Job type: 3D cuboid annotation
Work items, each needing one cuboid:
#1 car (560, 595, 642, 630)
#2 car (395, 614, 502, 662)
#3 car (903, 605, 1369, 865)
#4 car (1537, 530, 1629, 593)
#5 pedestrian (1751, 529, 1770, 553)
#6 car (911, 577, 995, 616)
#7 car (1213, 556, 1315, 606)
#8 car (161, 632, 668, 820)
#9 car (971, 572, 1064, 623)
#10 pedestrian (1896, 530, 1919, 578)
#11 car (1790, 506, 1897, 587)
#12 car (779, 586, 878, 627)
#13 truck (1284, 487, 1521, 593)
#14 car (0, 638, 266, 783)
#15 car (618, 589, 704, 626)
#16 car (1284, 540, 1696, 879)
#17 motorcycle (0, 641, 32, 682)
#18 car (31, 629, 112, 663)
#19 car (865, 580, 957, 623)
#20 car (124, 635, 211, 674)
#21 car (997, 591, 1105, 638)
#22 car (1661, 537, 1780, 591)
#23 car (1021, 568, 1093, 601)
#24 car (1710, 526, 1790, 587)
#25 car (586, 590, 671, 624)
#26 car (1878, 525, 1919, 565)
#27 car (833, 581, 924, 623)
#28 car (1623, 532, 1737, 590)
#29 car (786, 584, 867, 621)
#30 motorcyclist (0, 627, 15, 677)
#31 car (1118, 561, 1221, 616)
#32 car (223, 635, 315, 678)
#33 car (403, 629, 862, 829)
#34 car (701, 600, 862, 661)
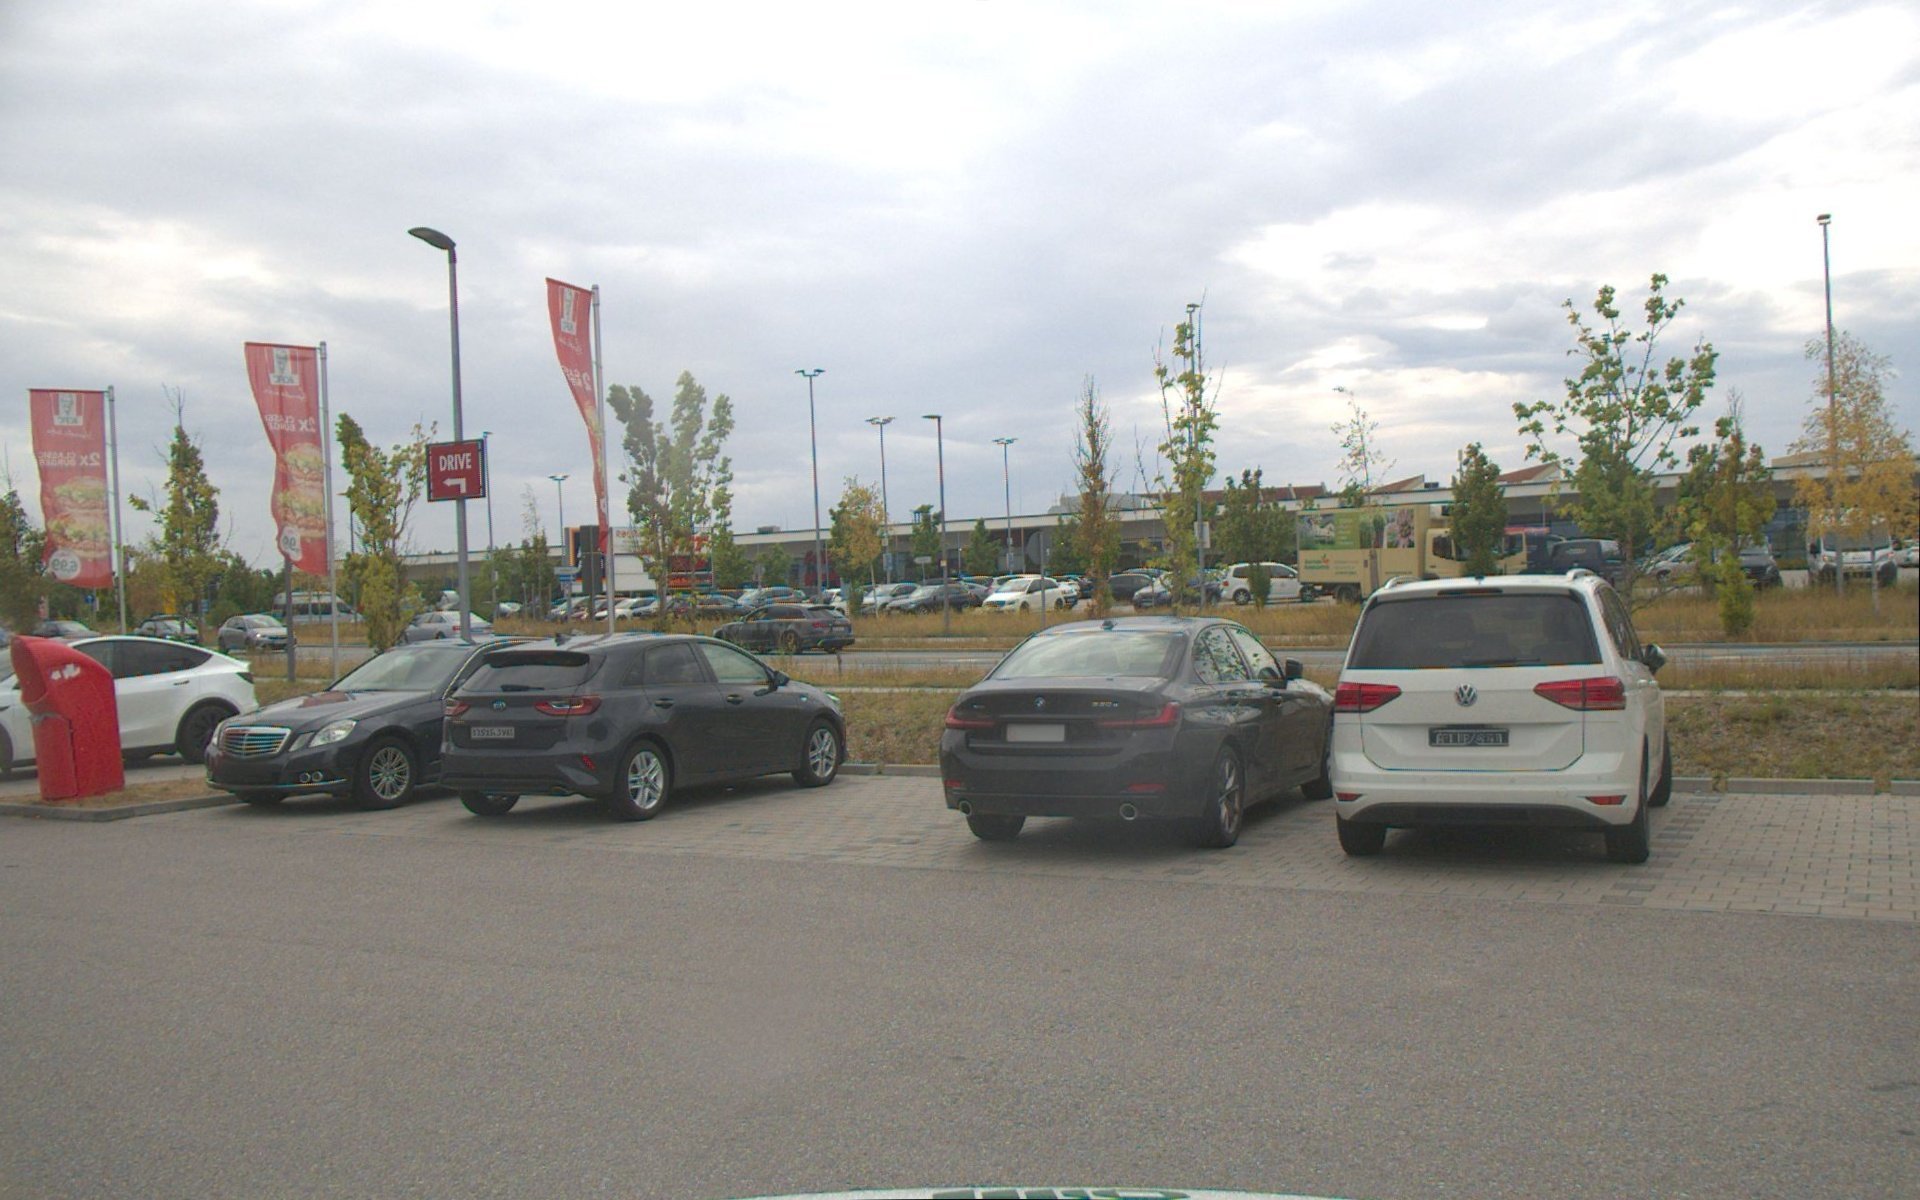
[{"bbox_3d":[-19.060,0.653,87.896,1.868,1.566,4.043,-2,2,34],"label":"car"},{"bbox_3d":[-19.026,1.404,61.395,1.789,1.578,4.776,-5,2,-44],"label":"car"},{"bbox_3d":[1.496,0.816,11.952,1.903,1.492,4.512,-2,-1,26],"label":"car"},{"bbox_3d":[20.429,-1.258,54.113,2.032,1.917,5.061,-2,0,30],"label":"car"},{"bbox_3d":[50.610,-3.719,104.578,0.640,1.453,0.796,-3,1,-13],"label":"pedestrian"},{"bbox_3d":[-0.396,-0.188,90.467,4.092,1.869,1.998,-2,2,27],"label":"car"},{"bbox_3d":[12.346,-0.781,67.155,3.902,1.802,2.002,-3,1,14],"label":"car"},{"bbox_3d":[-5.054,1.100,16.092,1.868,1.482,4.736,-2,-1,27],"label":"car"},{"bbox_3d":[2.379,-0.122,66.944,1.956,1.802,4.315,-2,2,29],"label":"car"},{"bbox_3d":[30.004,-1.457,51.877,0.955,1.453,0.788,-3,1,21],"label":"pedestrian"},{"bbox_3d":[26.864,-1.674,50.486,2.360,2.252,6.058,-2,2,24],"label":"car"},{"bbox_3d":[-5.989,0.303,75.508,4.129,1.566,1.968,-5,2,-44],"label":"car"},{"bbox_3d":[15.152,-1.989,57.423,2.985,3.251,8.356,-4,2,-27],"label":"truck"},{"bbox_3d":[-10.900,1.285,19.801,1.885,1.568,4.533,-2,-1,33],"label":"car"},{"bbox_3d":[-15.078,0.384,83.485,1.959,1.566,4.043,-2,2,34],"label":"car"},{"bbox_3d":[3.685,0.602,10.914,1.947,1.743,4.368,-2,-1,26],"label":"car"},{"bbox_3d":[-30.134,1.948,51.553,0.780,1.229,1.911,-3,0,41],"label":"motorcycle"},{"bbox_3d":[-41.064,2.120,76.405,4.138,1.419,1.761,-2,1,39],"label":"car"},{"bbox_3d":[-2.053,0.055,70.313,1.737,1.566,4.040,-2,2,37],"label":"car"},{"bbox_3d":[-33.827,2.327,70.539,4.208,1.525,1.846,-2,1,42],"label":"car"},{"bbox_3d":[3.960,0.640,71.994,4.228,1.802,1.918,-2,2,31],"label":"car"},{"bbox_3d":[28.309,-1.351,61.634,3.907,1.768,1.890,-3,2,24],"label":"car"},{"bbox_3d":[6.174,-0.991,105.340,4.092,1.869,1.998,-2,2,27],"label":"car"},{"bbox_3d":[24.386,-1.380,51.184,2.029,1.667,5.069,-2,2,24],"label":"car"},{"bbox_3d":[-17.212,0.354,86.025,1.829,1.527,4.057,-2,2,38],"label":"car"},{"bbox_3d":[48.074,-2.786,82.441,3.909,1.869,1.998,-2,2,27],"label":"car"},{"bbox_3d":[-3.516,0.087,72.140,1.737,1.566,4.040,-2,2,37],"label":"car"},{"bbox_3d":[28.736,-1.566,66.127,3.903,2.048,2.002,-3,1,17],"label":"car"},{"bbox_3d":[-7.534,0.148,93.265,4.092,1.869,1.998,-2,2,27],"label":"car"},{"bbox_3d":[-30.137,1.632,51.555,0.815,1.514,0.936,-3,0,41],"label":"motorcyclist"},{"bbox_3d":[7.907,-0.449,62.133,1.893,1.802,4.305,-2,2,37],"label":"car"},{"bbox_3d":[-26.693,2.165,63.816,3.932,1.485,1.818,-2,2,44],"label":"car"},{"bbox_3d":[-2.663,1.010,14.441,1.845,1.437,4.067,-2,-1,26],"label":"car"},{"bbox_3d":[-5.245,0.903,48.318,4.762,1.578,1.794,-2,2,39],"label":"car"}]
